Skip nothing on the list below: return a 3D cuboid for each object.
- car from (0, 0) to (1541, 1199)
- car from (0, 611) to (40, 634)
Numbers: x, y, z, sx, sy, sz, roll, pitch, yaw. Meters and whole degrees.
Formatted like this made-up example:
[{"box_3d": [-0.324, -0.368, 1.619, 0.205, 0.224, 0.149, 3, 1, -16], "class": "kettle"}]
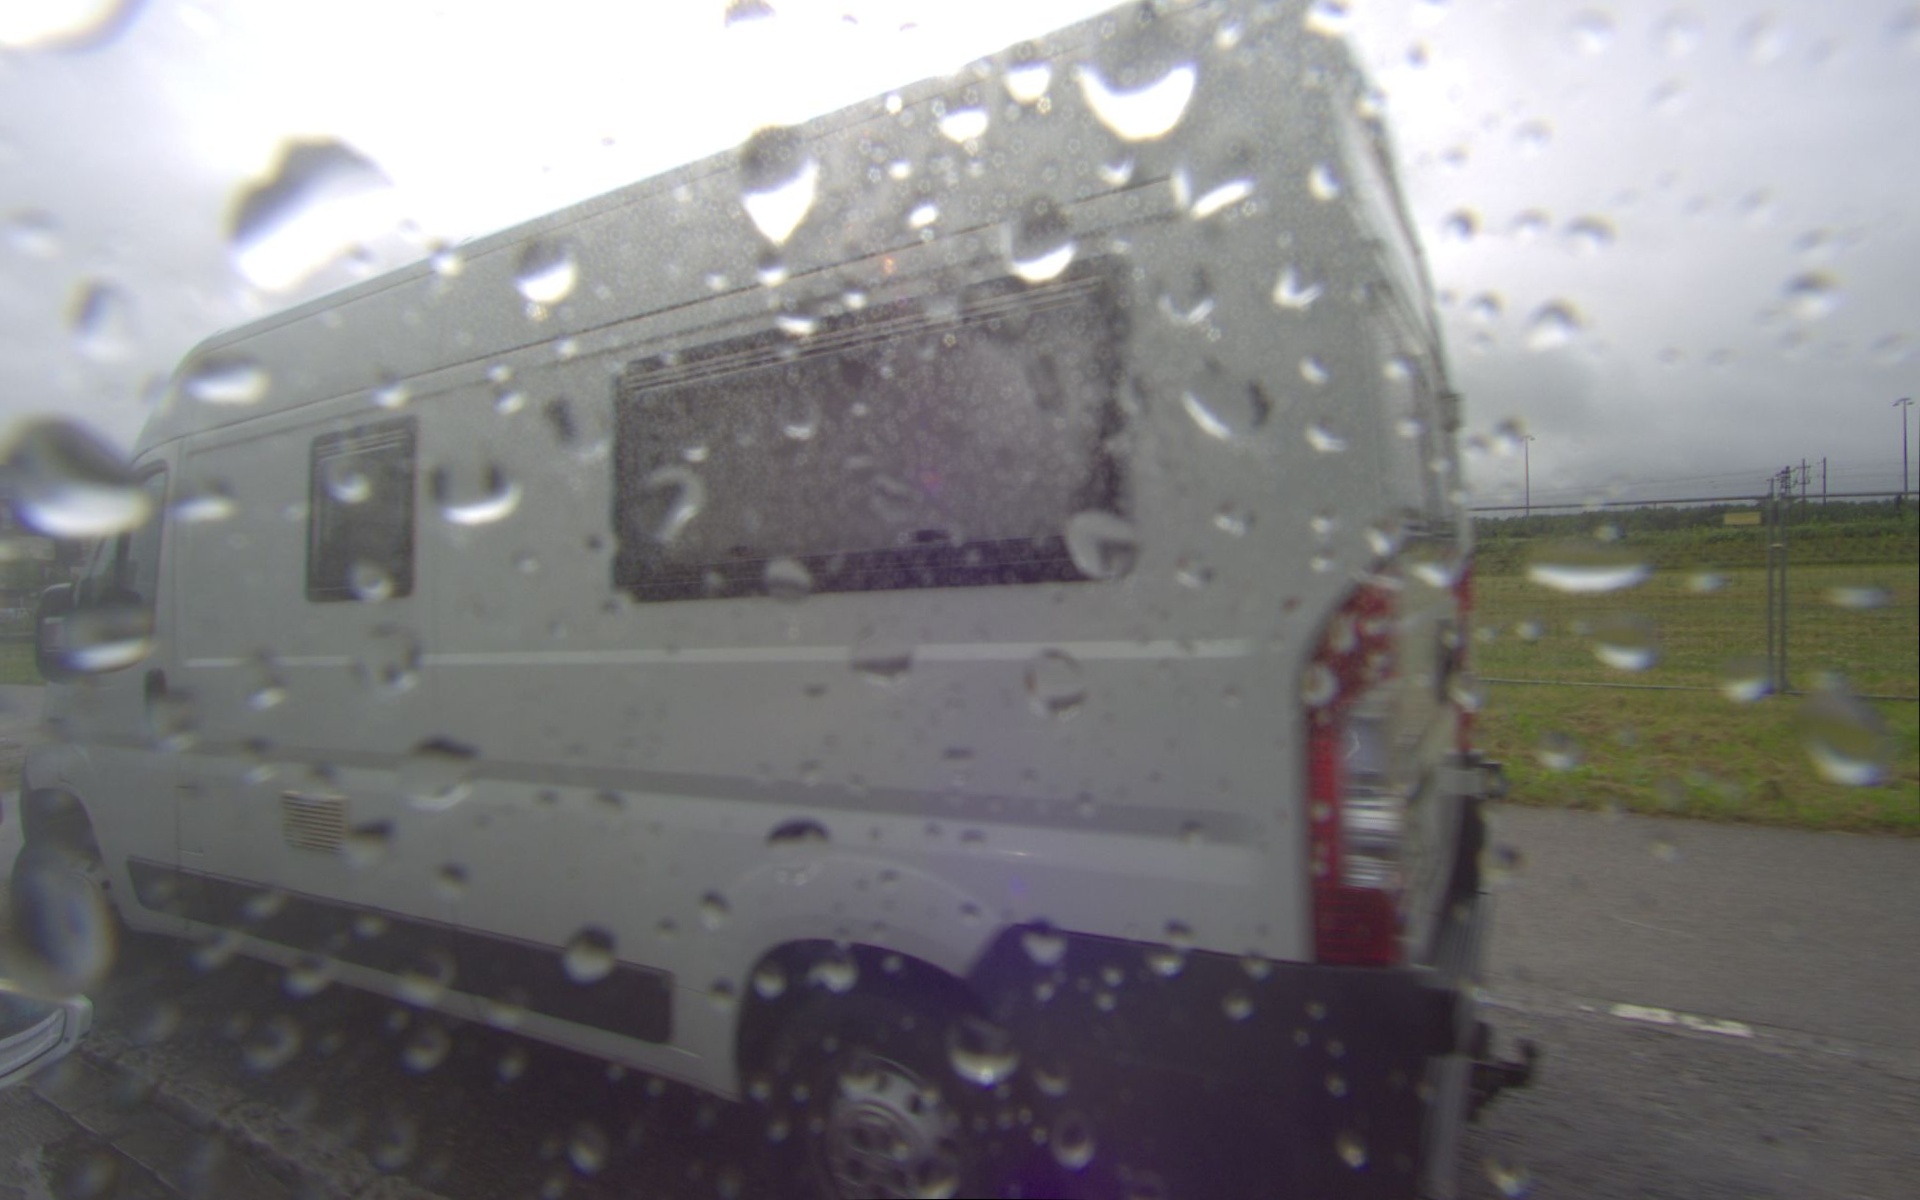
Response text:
[{"box_3d": [-1.311, 0.125, 3.643, 5.862, 2.507, 2.086, -1, 2, 32], "class": "car"}, {"box_3d": [-81.065, 1.866, 84.717, 1.968, 1.794, 4.326, -1, -4, 27], "class": "car"}]
